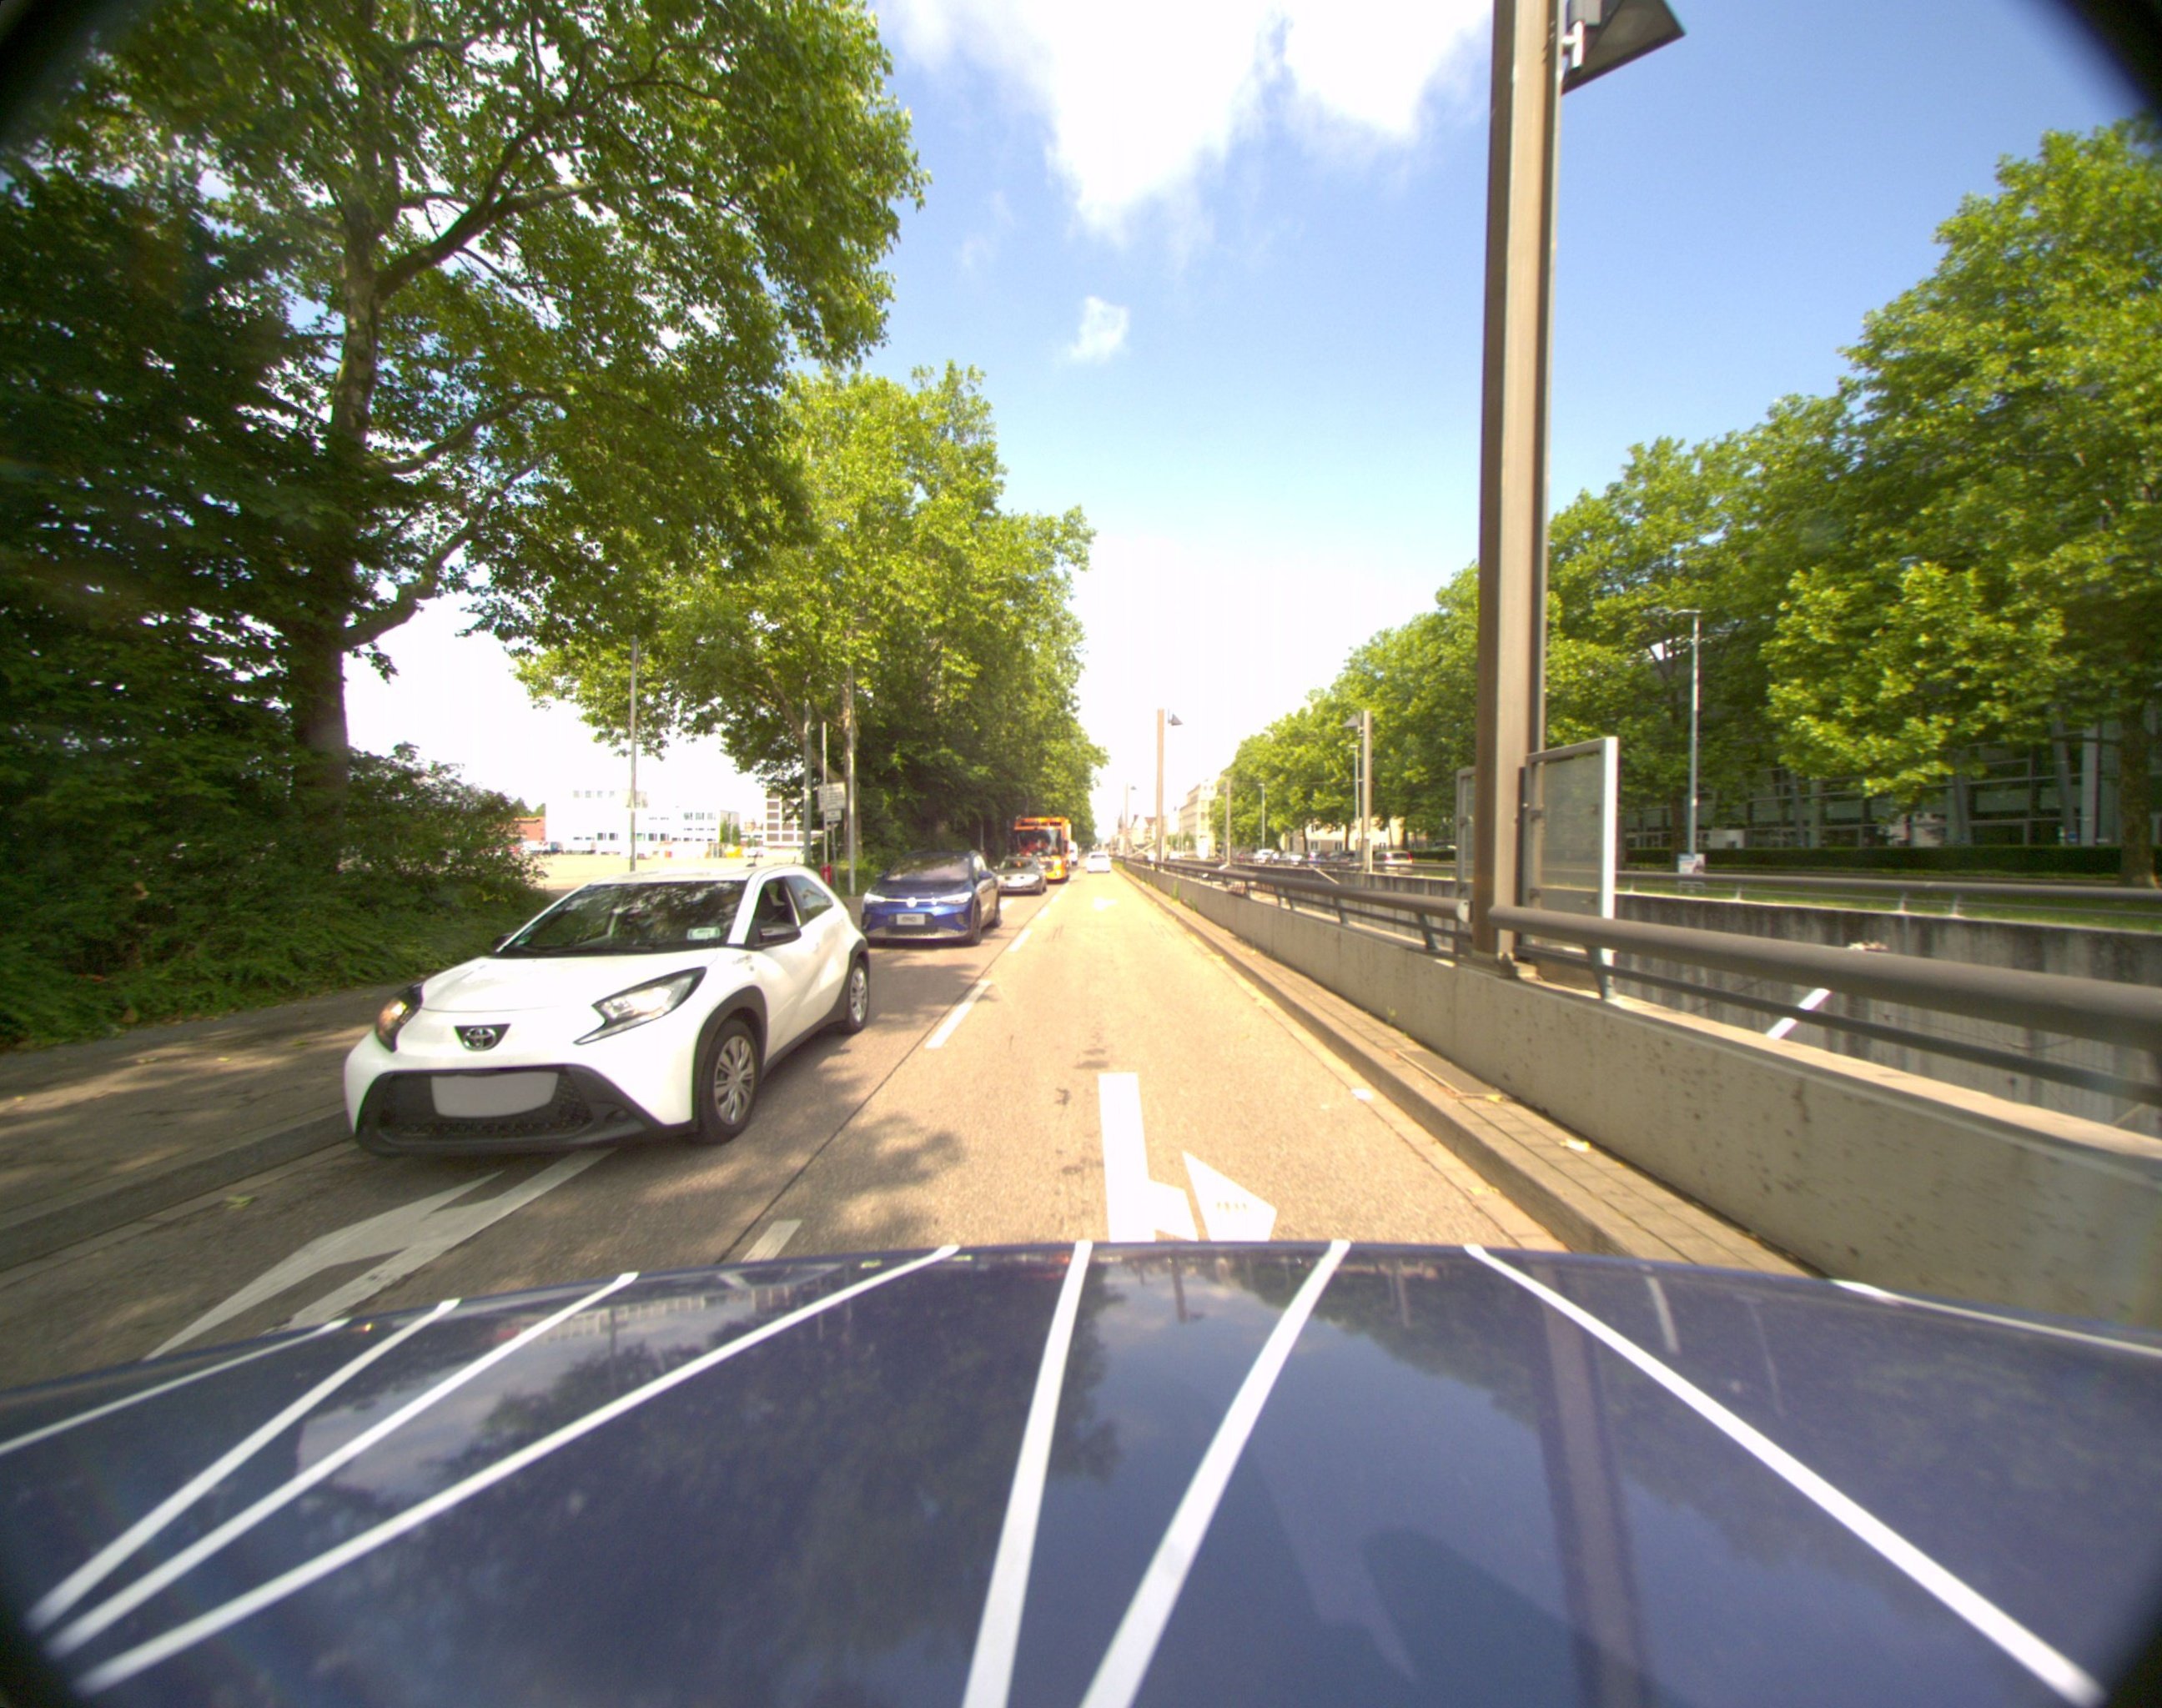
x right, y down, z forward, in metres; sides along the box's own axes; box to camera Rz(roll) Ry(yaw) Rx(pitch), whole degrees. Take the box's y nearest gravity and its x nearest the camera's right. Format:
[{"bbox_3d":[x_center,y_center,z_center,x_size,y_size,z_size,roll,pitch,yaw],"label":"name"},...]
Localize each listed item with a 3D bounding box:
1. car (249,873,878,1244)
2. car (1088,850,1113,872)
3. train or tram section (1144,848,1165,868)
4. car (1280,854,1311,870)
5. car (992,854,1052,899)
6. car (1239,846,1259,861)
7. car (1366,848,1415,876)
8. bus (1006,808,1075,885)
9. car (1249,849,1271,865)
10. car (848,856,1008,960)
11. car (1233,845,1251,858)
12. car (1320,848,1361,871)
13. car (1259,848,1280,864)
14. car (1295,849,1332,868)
[{"bbox_3d":[-2.752,0.936,5.215,1.749,1.470,3.798,-2,0,-2],"label":"car"},{"bbox_3d":[1.392,0.465,55.786,1.737,1.478,3.600,0,2,-1],"label":"car"},{"bbox_3d":[9.682,0.544,100.938,2.216,2.444,6.248,-2,1,1],"label":"train or tram section"},{"bbox_3d":[16.722,0.594,59.349,1.611,1.198,3.127,0,1,1],"label":"car"},{"bbox_3d":[-2.134,0.768,28.301,1.771,1.455,4.000,-2,1,1],"label":"car"},{"bbox_3d":[16.628,-0.055,75.194,1.309,1.368,3.185,0,1,1],"label":"car"},{"bbox_3d":[16.766,0.423,41.295,1.420,1.448,3.157,0,1,1],"label":"car"},{"bbox_3d":[-1.906,-0.429,40.321,2.744,3.446,10.394,-2,1,1],"label":"bus"},{"bbox_3d":[16.361,0.243,69.486,1.309,1.368,3.185,0,1,1],"label":"car"},{"bbox_3d":[-2.600,0.851,14.102,1.891,1.566,4.581,-2,0,1],"label":"car"},{"bbox_3d":[16.941,-0.245,80.104,1.309,1.368,3.185,0,1,1],"label":"car"},{"bbox_3d":[16.403,0.332,48.208,1.582,1.426,3.157,0,1,1],"label":"car"},{"bbox_3d":[16.250,0.131,65.551,1.167,1.368,2.745,0,1,1],"label":"car"},{"bbox_3d":[16.834,0.299,55.257,1.579,1.368,3.896,0,1,1],"label":"car"}]
